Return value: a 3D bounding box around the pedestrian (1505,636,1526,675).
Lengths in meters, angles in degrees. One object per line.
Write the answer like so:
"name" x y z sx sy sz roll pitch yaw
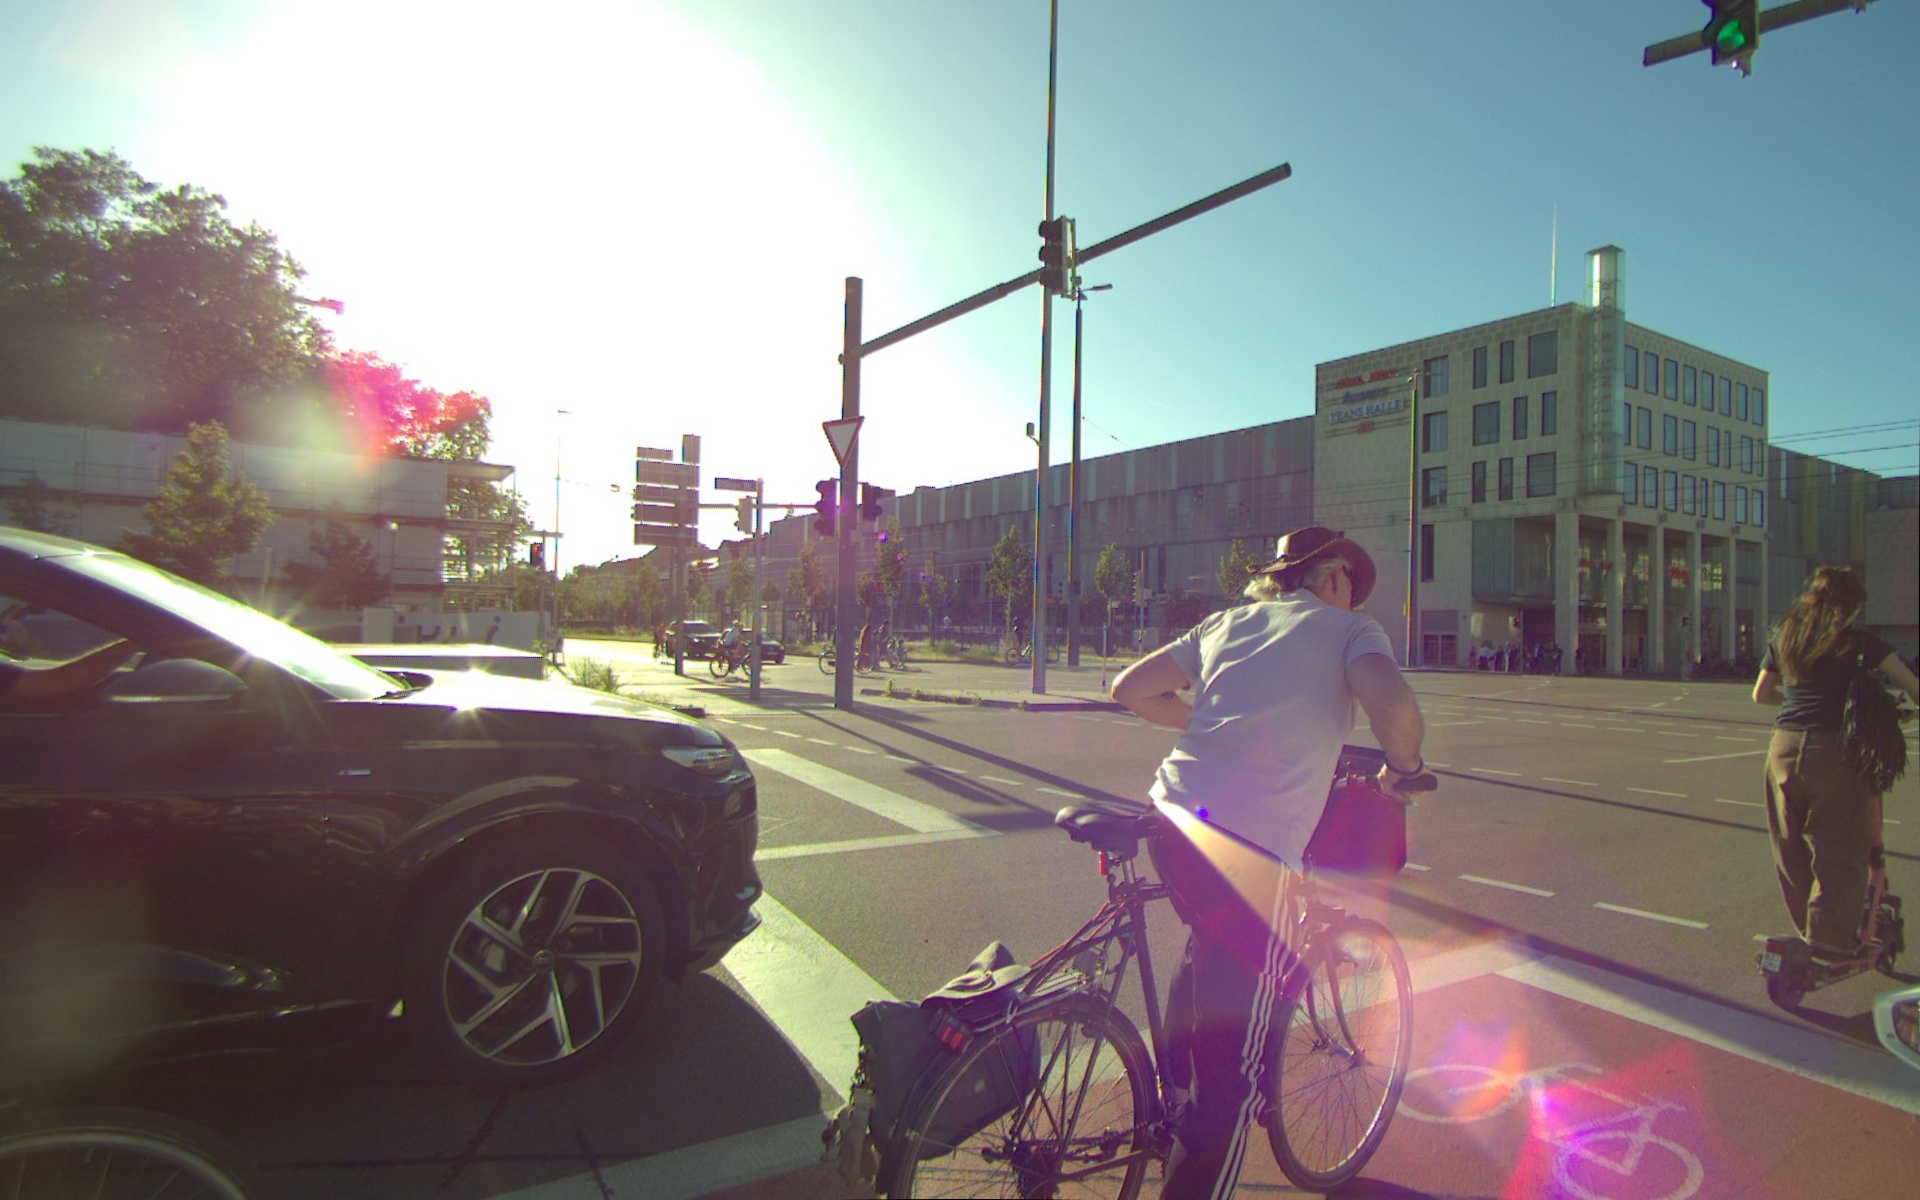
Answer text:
"pedestrian" 31.094 3.096 56.270 0.881 2.152 0.947 1 -2 21

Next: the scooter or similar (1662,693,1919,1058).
"scooter or similar" 3.615 1.020 4.160 1.467 1.191 0.638 2 -1 -33

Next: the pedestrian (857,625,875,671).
"pedestrian" -3.309 1.685 35.282 0.446 1.587 0.516 1 -1 -29

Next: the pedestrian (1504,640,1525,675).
"pedestrian" 32.734 3.370 59.301 0.899 2.040 1.024 1 -2 21

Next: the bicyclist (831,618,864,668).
"bicyclist" -3.576 1.351 31.920 0.926 1.565 0.647 1 -1 -16

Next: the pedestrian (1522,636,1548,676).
"pedestrian" 32.120 3.124 56.087 1.042 2.157 1.098 1 -1 19

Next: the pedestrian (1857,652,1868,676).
"pedestrian" 78.177 5.533 86.983 0.475 2.040 0.610 2 0 -43

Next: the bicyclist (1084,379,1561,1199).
"bicyclist" 0.815 0.469 2.291 0.778 1.691 0.695 2 -2 -34

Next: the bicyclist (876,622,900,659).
"bicyclist" -2.773 1.541 38.418 0.826 1.374 0.804 1 -1 -10

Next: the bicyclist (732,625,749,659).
"bicyclist" -8.308 1.577 37.988 0.627 1.287 0.803 1 -1 -13

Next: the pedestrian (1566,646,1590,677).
"pedestrian" 33.421 3.329 54.327 0.927 1.592 0.842 1 -1 16

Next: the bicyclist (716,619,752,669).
"bicyclist" -6.597 1.263 29.271 0.833 1.420 0.799 1 -1 -29

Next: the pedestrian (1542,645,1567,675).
"pedestrian" 33.411 3.359 56.474 0.987 1.672 0.949 1 -1 17

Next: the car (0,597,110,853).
"car" -7.385 0.606 5.054 4.477 1.370 1.761 2 -1 -32

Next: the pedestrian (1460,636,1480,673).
"pedestrian" 30.219 3.242 59.508 0.883 2.152 0.944 0 -2 34

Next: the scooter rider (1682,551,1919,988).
"scooter rider" 3.629 0.625 4.172 1.105 1.564 0.638 2 -1 -32

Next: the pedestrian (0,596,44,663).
"pedestrian" -24.404 0.779 26.122 0.646 1.702 0.834 2 -2 -29

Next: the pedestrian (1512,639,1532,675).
"pedestrian" 32.244 3.260 57.662 0.900 2.040 1.023 1 -2 26

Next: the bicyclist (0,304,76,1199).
"bicyclist" -1.764 0.374 1.216 0.884 1.595 0.620 2 -2 -30

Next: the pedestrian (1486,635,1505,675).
"pedestrian" 30.090 3.076 56.399 0.881 2.152 0.946 1 -2 26

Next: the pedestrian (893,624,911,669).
"pedestrian" -2.060 1.647 35.767 0.446 1.587 0.516 1 -1 -29

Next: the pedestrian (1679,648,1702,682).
"pedestrian" 38.785 3.456 53.302 0.748 1.763 0.747 2 -1 -32

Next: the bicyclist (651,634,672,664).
"bicyclist" -13.431 2.192 45.185 0.796 1.315 0.771 1 -1 -29

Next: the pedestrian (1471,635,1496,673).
"pedestrian" 30.208 3.107 57.967 0.936 2.152 0.891 2 -2 -31

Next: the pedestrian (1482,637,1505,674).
"pedestrian" 31.213 3.234 58.814 0.939 2.152 0.888 3 -2 -40

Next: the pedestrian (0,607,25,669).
"pedestrian" -23.318 0.919 24.443 0.646 1.472 0.599 2 -2 -29

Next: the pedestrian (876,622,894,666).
"pedestrian" -2.710 1.601 36.417 0.446 1.587 0.516 1 -1 -29

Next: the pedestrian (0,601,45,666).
"pedestrian" -23.718 0.847 25.385 0.646 1.610 0.834 2 -2 -29

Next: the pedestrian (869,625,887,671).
"pedestrian" -2.840 1.656 34.777 0.446 1.587 0.516 1 -1 -29

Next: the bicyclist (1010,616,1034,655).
"bicyclist" 2.453 1.409 39.765 0.611 1.525 0.750 2 -2 -31

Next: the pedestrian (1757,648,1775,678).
"pedestrian" 55.383 4.327 69.049 0.933 2.008 1.004 0 -2 37
